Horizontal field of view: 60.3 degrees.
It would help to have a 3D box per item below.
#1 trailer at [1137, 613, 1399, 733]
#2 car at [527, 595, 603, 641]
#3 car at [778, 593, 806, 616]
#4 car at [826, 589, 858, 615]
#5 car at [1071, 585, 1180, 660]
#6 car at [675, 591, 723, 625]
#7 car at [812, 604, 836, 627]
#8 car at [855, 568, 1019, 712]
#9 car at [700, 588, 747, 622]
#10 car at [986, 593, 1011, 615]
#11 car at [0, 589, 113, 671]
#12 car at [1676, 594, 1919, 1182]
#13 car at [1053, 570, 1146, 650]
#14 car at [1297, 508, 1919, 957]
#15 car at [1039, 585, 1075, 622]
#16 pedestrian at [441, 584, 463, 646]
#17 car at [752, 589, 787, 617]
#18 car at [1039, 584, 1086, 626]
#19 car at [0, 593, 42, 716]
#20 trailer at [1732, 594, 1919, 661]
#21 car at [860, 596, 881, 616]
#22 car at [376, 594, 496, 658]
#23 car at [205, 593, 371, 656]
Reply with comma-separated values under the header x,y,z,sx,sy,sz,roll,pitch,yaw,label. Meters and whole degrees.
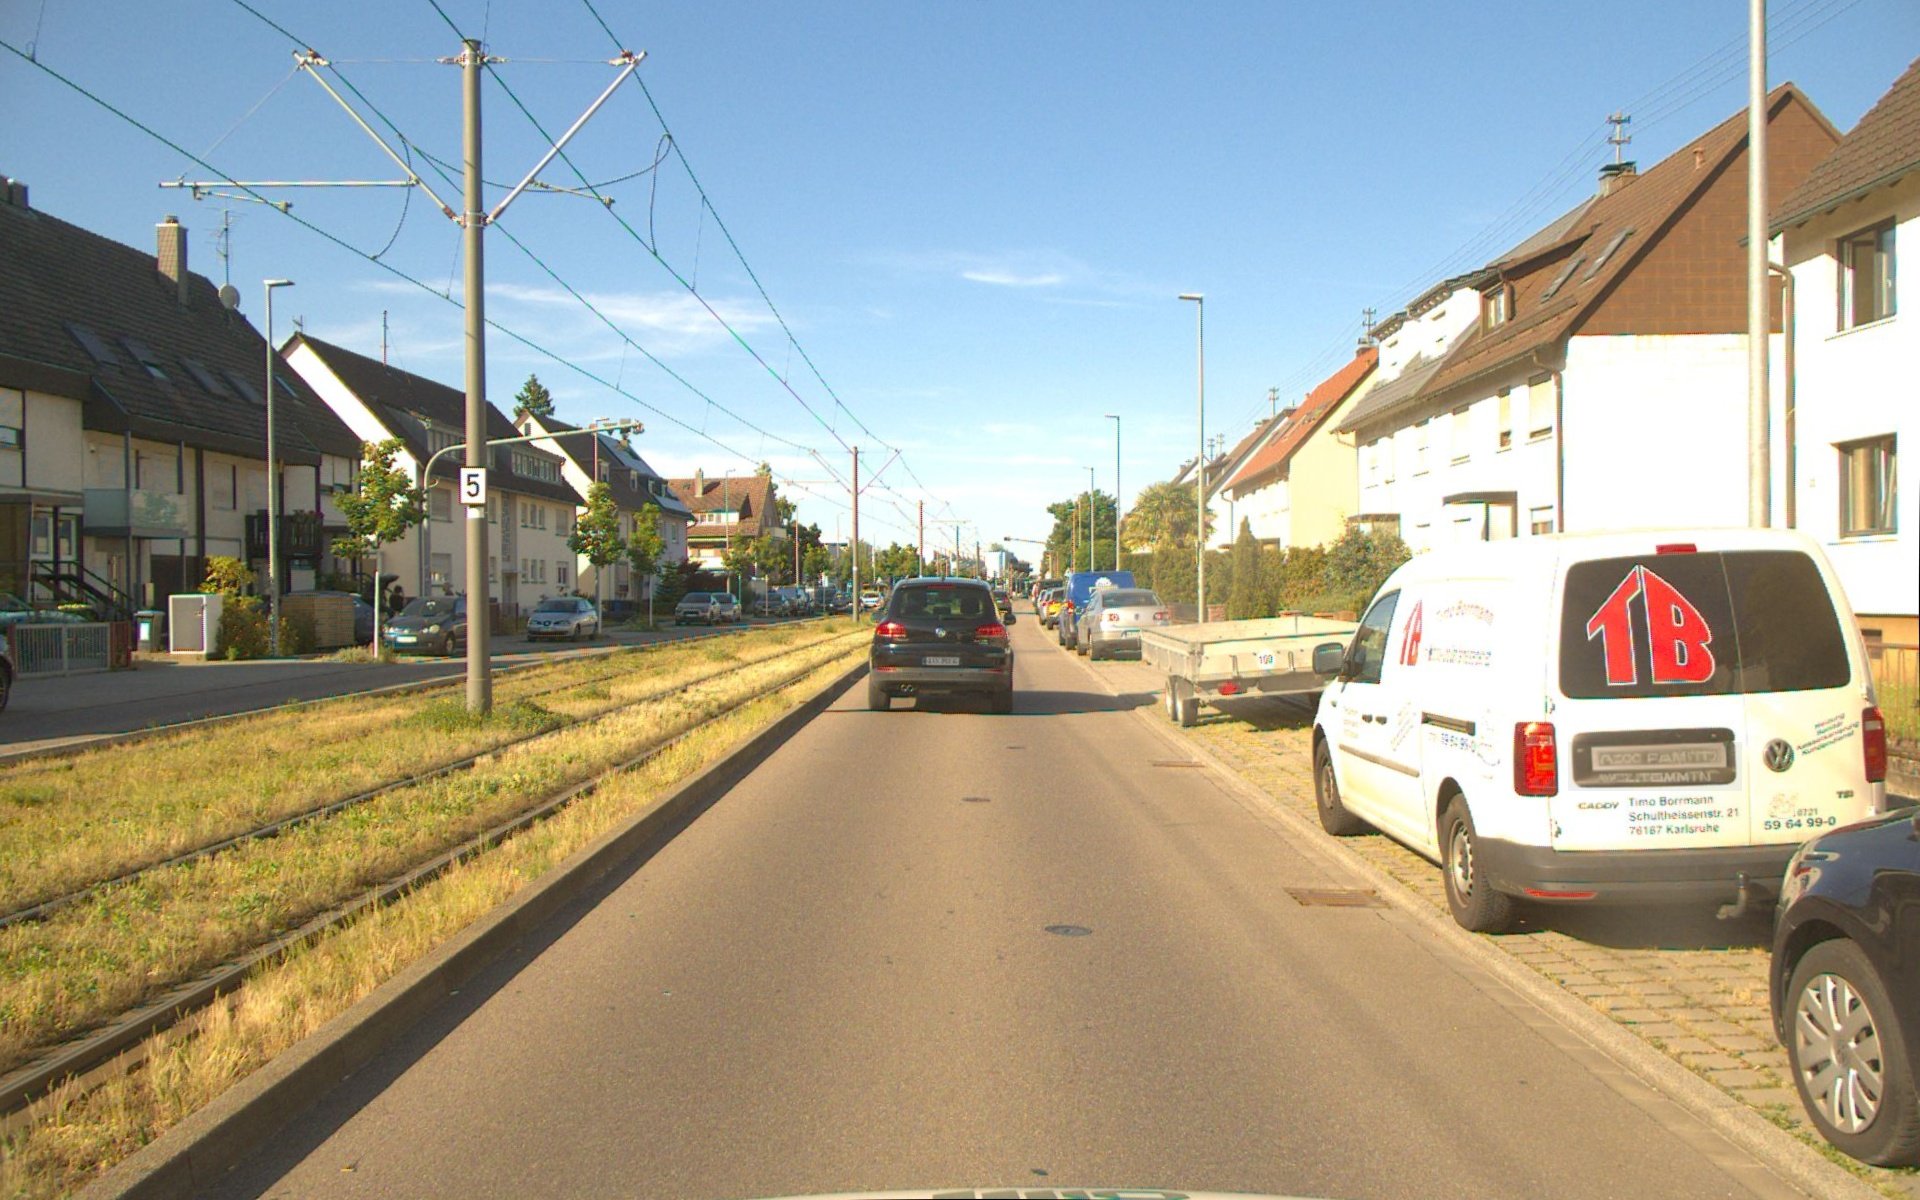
x,y,z,sx,sy,sz,roll,pitch,yaw,label
3.424,0.766,19.288,2.159,1.113,4.371,-2,0,-1,trailer
-12.996,0.616,54.593,1.585,1.434,3.717,-1,-1,0,car
-10.737,0.280,105.914,1.484,1.385,3.590,-1,0,-1,car
-8.006,0.162,112.443,1.835,1.684,3.999,-1,-1,0,car
3.541,0.448,36.067,1.750,1.466,4.458,-2,0,-2,car
-12.244,0.341,77.734,1.625,1.523,3.579,-1,0,0,car
-10.106,1.163,122.880,1.435,1.706,3.287,-1,-1,0,car
-0.402,0.491,22.011,1.777,1.700,4.252,1,0,-6,car
-11.986,0.240,83.894,1.766,1.660,4.000,-1,1,0,car
2.571,0.238,110.435,1.540,1.415,3.614,-1,0,0,car
-20.010,0.618,34.157,4.083,1.645,1.758,-1,0,-4,car
3.231,0.715,3.480,1.637,1.478,4.125,-1,0,0,car
3.508,0.223,42.441,1.952,1.894,4.917,-1,0,0,car
3.143,0.525,9.078,1.655,1.808,4.656,-1,0,0,car
4.207,0.136,72.041,1.421,1.579,3.830,-1,0,1,car
-14.787,0.431,48.142,0.458,1.776,0.536,-1,0,-1,pedestrian
-11.482,0.195,100.010,1.626,1.609,4.000,-1,-1,0,car
3.964,0.200,64.388,1.611,1.561,3.864,-1,0,0,car
-13.451,0.741,20.407,1.767,1.625,4.809,-1,0,-3,car
15.656,0.434,27.671,4.705,1.046,1.644,-1,0,3,trailer
-6.828,0.468,126.647,1.435,1.479,3.287,-1,-1,0,car
-13.196,0.629,41.843,1.584,1.478,3.720,-1,1,5,car
-18.263,0.640,45.095,3.828,1.595,1.732,-1,0,-8,car
